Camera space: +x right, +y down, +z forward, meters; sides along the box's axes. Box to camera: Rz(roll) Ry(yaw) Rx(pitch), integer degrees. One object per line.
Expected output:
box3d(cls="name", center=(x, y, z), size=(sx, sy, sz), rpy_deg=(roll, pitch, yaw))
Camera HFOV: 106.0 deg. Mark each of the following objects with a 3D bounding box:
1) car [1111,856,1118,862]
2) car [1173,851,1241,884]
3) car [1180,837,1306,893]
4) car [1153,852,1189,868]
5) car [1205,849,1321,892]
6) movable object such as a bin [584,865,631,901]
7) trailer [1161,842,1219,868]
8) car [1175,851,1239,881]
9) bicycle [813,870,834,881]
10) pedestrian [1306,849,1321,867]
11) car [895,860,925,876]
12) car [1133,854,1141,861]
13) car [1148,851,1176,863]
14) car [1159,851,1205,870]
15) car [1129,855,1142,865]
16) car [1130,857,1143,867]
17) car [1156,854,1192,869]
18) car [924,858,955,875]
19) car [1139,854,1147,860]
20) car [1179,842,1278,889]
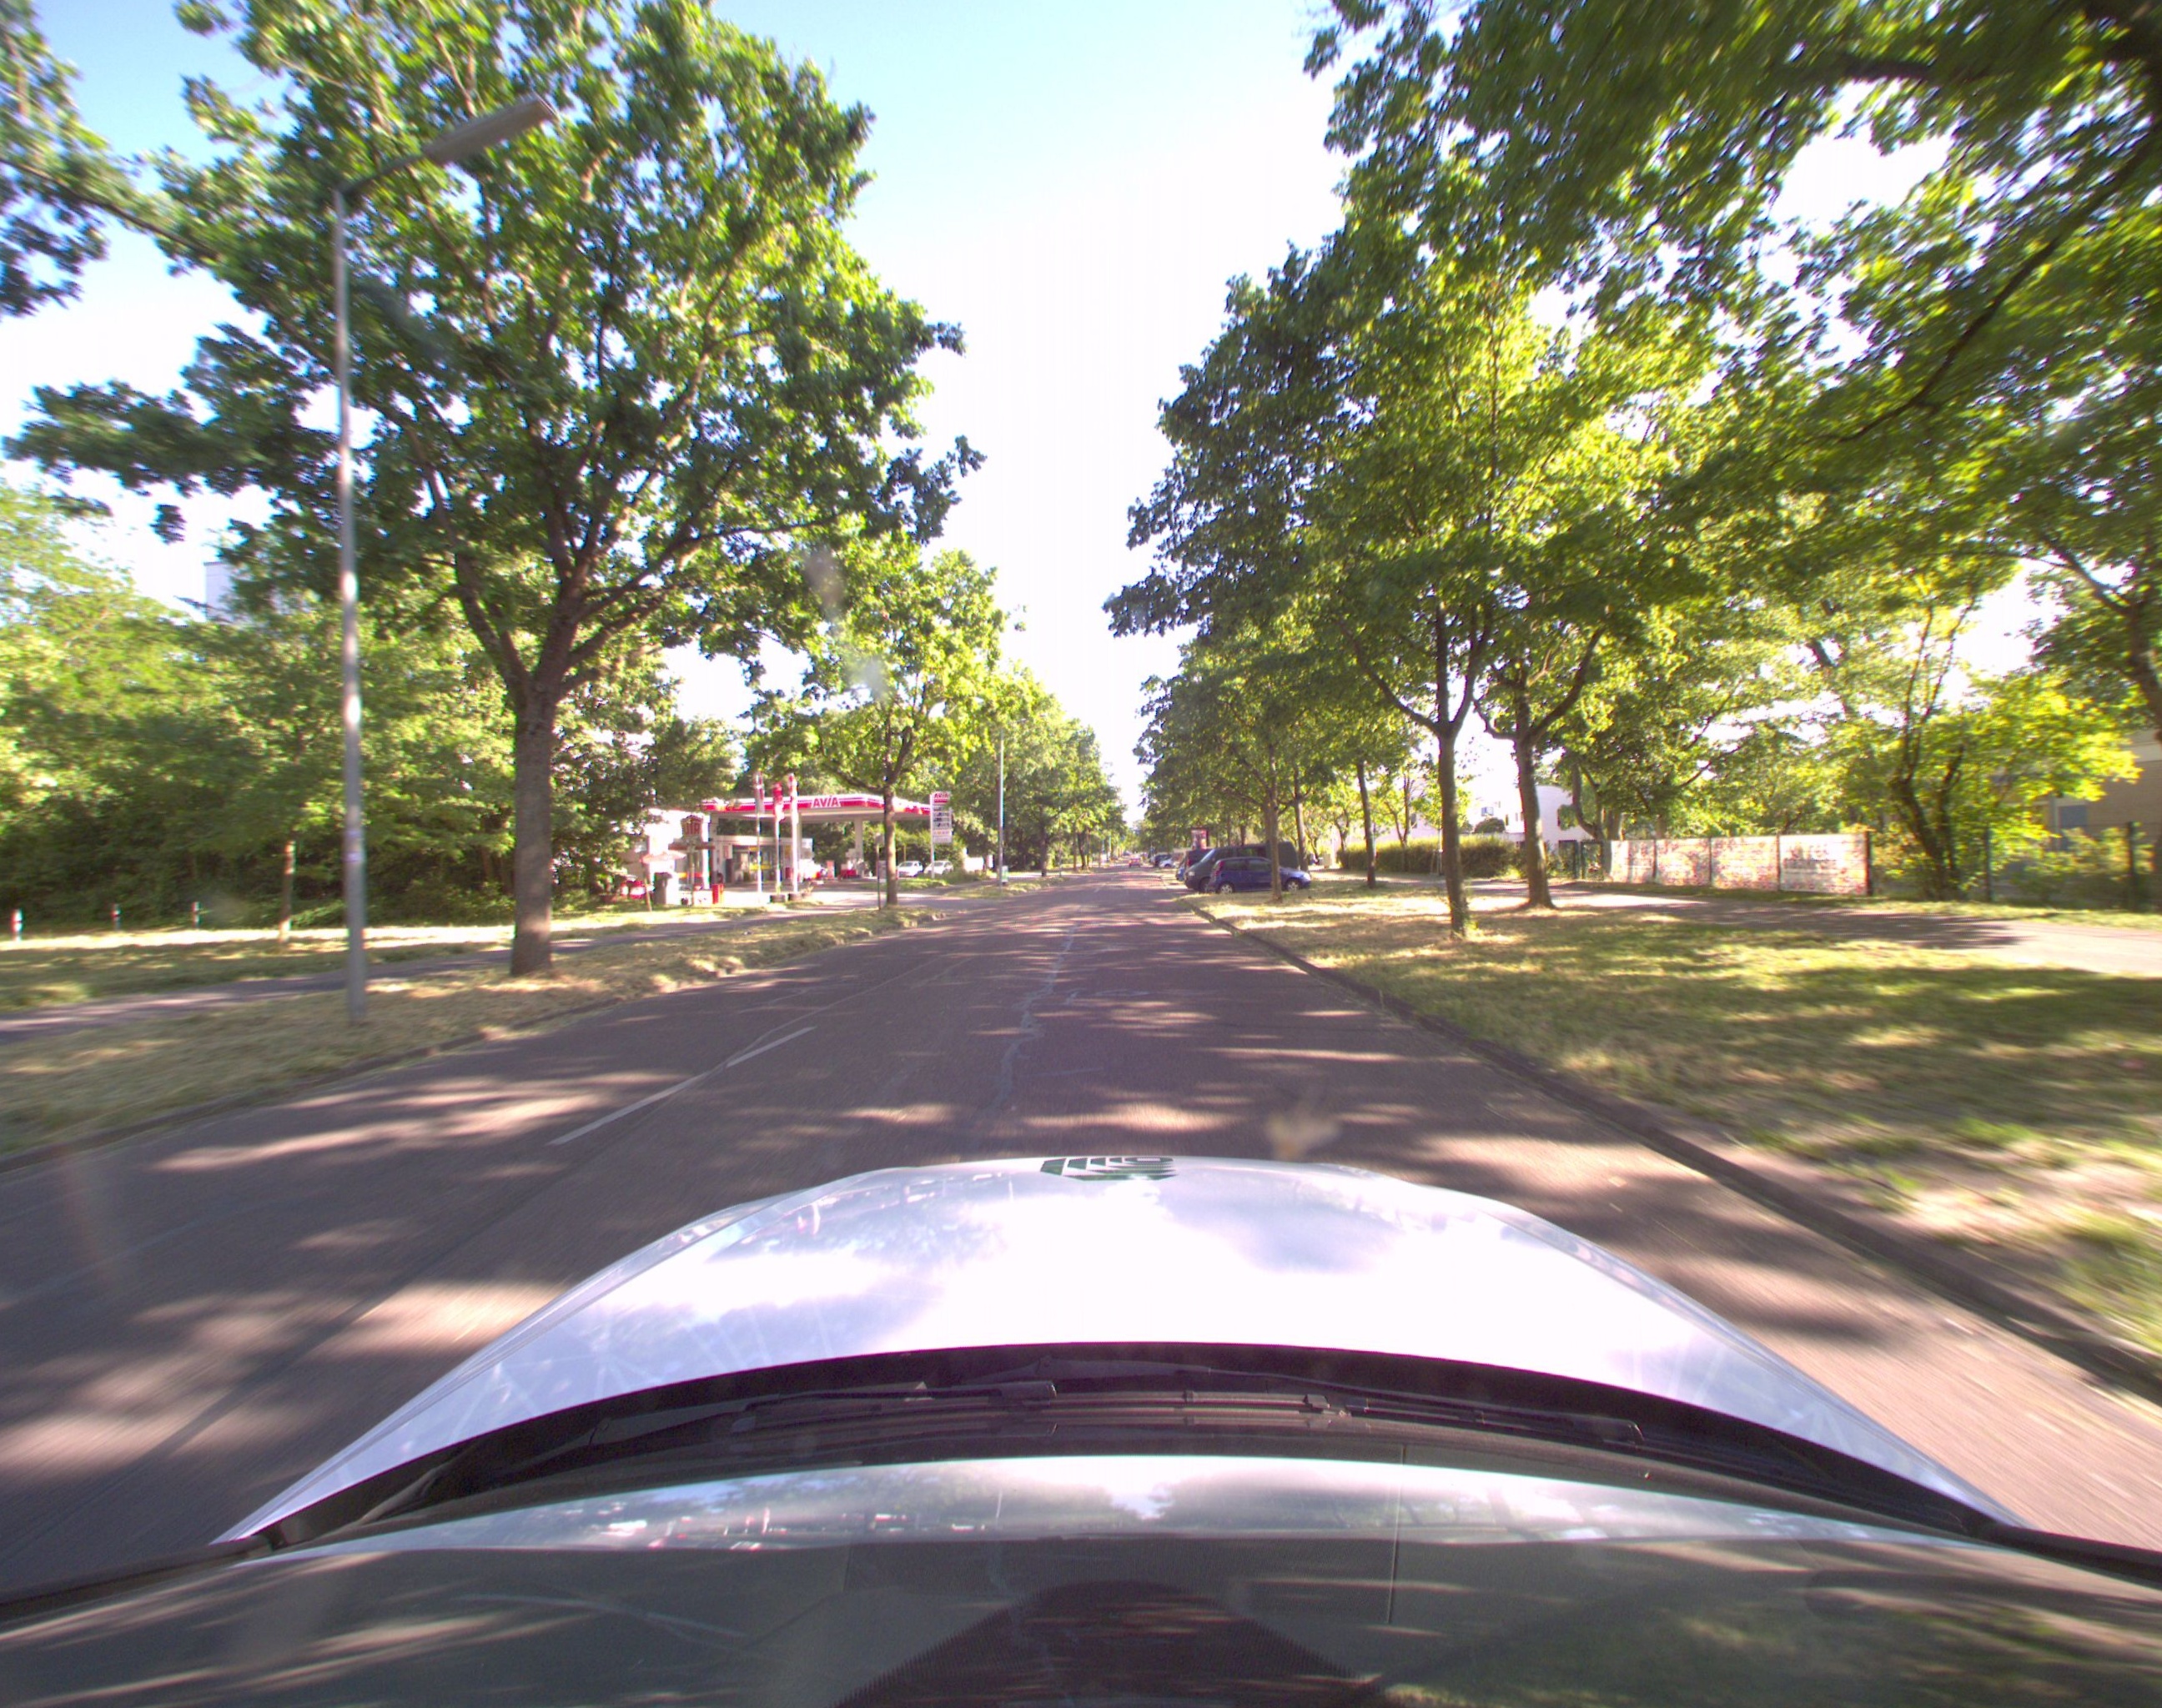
box3d(cls="car", center=(9.678, 1.431, 236.172), size=(1.985, 1.716, 4.004), rpy_deg=(-1, 0, 3))
box3d(cls="car", center=(6.754, 0.721, 43.913), size=(3.504, 1.532, 1.667), rpy_deg=(-3, -1, 5))
box3d(cls="car", center=(6.559, 0.439, 33.395), size=(4.783, 2.032, 1.946), rpy_deg=(-3, -1, 3))
box3d(cls="car", center=(11.667, 0.792, 105.399), size=(4.510, 1.801, 1.938), rpy_deg=(-3, -1, 4))
box3d(cls="car", center=(6.769, 0.610, 30.537), size=(3.971, 1.403, 1.741), rpy_deg=(-3, -1, 3))
box3d(cls="movable object such as a bin", center=(-21.269, 1.269, 36.579), size=(1.298, 1.542, 1.269), rpy_deg=(-2, 0, 4))
box3d(cls="trailer", center=(11.083, 0.078, 83.031), size=(5.746, 2.317, 1.689), rpy_deg=(-3, -1, 5))
box3d(cls="car", center=(7.468, 0.725, 48.494), size=(3.566, 1.576, 1.789), rpy_deg=(-3, -1, 5))
box3d(cls="bicycle", center=(-20.700, 1.745, 65.459), size=(0.612, 0.807, 1.788), rpy_deg=(-2, 0, 19))
box3d(cls="pedestrian", center=(20.497, 0.348, 71.777), size=(0.874, 1.500, 0.949), rpy_deg=(-3, 0, 42))
box3d(cls="car", center=(-15.188, 1.212, 72.297), size=(1.413, 1.367, 3.216), rpy_deg=(0, 0, 12))
box3d(cls="car", center=(14.261, 0.877, 208.979), size=(1.985, 1.933, 4.004), rpy_deg=(-1, 0, 3))
box3d(cls="car", center=(15.159, 0.596, 152.729), size=(5.167, 2.105, 2.084), rpy_deg=(-2, -1, 2))
box3d(cls="car", center=(10.634, 0.709, 85.882), size=(4.620, 1.722, 1.990), rpy_deg=(-3, -1, 4))
box3d(cls="car", center=(8.300, 0.940, 124.447), size=(1.986, 1.484, 4.002), rpy_deg=(-1, -1, 2))
box3d(cls="car", center=(9.694, 1.330, 142.278), size=(1.986, 1.655, 4.001), rpy_deg=(-1, -1, 1))
box3d(cls="car", center=(11.291, 0.905, 98.686), size=(4.225, 1.519, 2.081), rpy_deg=(-3, 0, 5))
box3d(cls="car", center=(-12.566, 1.086, 72.394), size=(1.536, 1.422, 3.498), rpy_deg=(0, 0, 12))
box3d(cls="car", center=(17.513, 0.874, 229.576), size=(1.985, 1.716, 4.004), rpy_deg=(-1, 0, 3))
box3d(cls="car", center=(6.477, 0.511, 36.005), size=(3.994, 1.837, 1.800), rpy_deg=(-3, -1, 1))
